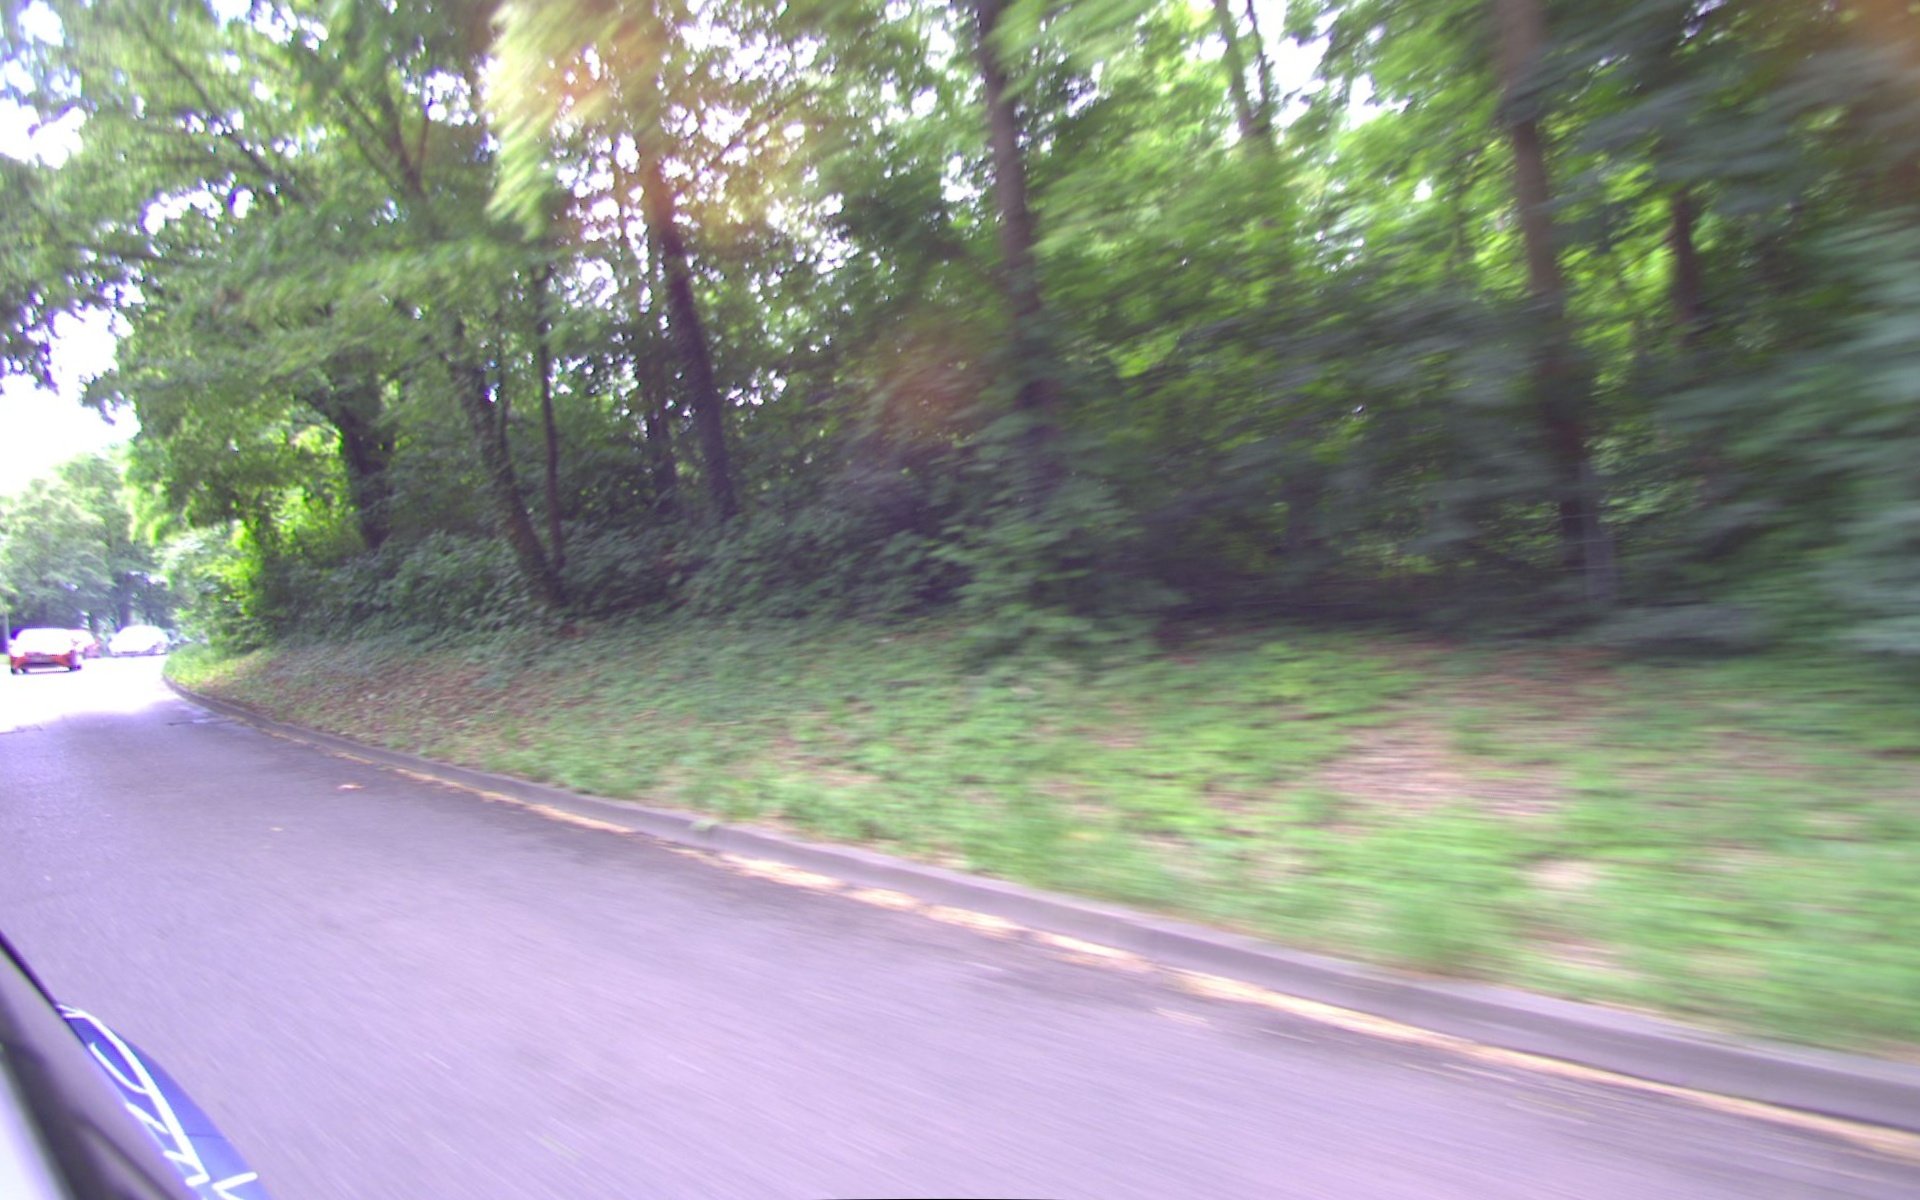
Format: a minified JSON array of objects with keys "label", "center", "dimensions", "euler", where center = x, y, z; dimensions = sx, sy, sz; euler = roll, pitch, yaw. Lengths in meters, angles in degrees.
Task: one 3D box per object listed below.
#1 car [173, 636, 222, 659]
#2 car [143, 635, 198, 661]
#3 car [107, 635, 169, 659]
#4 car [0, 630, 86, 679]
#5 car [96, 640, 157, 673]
[{"label":"car","center":[-55.008,3.409,73.101],"dimensions":[1.686,1.432,4.692],"euler":[-3,0,-22]},{"label":"car","center":[-53.307,3.196,68.380],"dimensions":[1.686,1.522,4.692],"euler":[-3,0,-22]},{"label":"car","center":[-51.481,2.937,63.494],"dimensions":[1.686,1.265,4.692],"euler":[-3,0,-22]},{"label":"car","center":[-31.670,1.826,34.956],"dimensions":[1.928,1.483,4.687],"euler":[-3,0,-38]},{"label":"car","center":[-44.448,2.987,53.955],"dimensions":[4.040,1.580,1.635],"euler":[-2,0,38]}]
